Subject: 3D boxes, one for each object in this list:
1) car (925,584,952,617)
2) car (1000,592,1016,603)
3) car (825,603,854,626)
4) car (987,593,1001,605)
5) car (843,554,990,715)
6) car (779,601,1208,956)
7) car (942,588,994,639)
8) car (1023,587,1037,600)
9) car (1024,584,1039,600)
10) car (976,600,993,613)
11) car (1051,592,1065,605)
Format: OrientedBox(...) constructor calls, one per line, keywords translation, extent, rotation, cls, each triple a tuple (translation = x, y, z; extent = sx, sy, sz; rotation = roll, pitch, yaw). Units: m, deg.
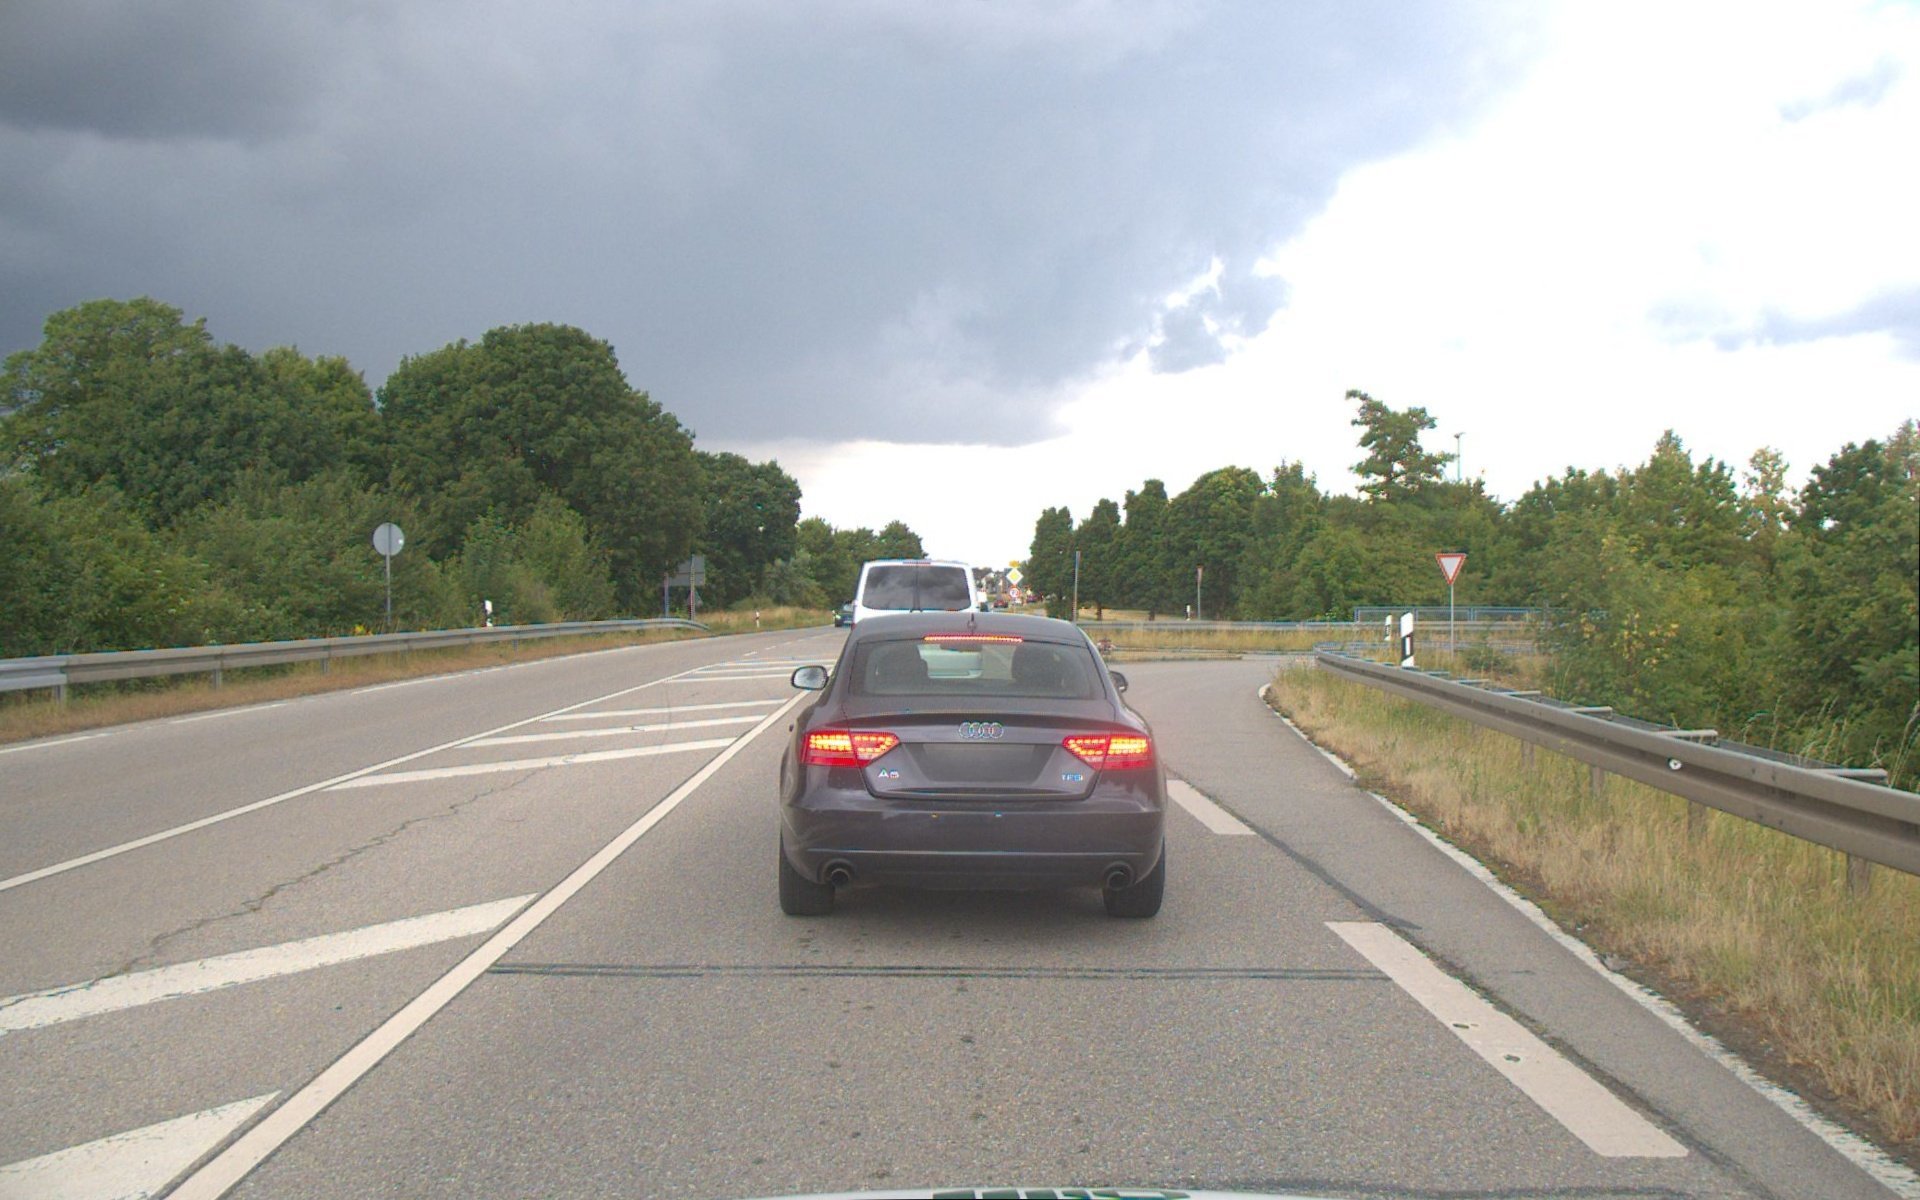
OrientedBox(translation=(-1.681, 0.036, 131.056), extent=(1.953, 2.450, 4.000), rotation=(2, 0, 0), cls="car")
OrientedBox(translation=(7.453, -0.395, 258.615), extent=(2.161, 1.610, 4.377), rotation=(1, 1, -2), cls="car")
OrientedBox(translation=(-8.176, 0.979, 112.469), extent=(1.761, 1.422, 3.483), rotation=(1, 1, -1), cls="car")
OrientedBox(translation=(4.799, -0.132, 236.509), extent=(1.952, 1.721, 4.001), rotation=(1, 1, 1), cls="car")
OrientedBox(translation=(-0.621, 0.421, 23.363), extent=(1.872, 2.049, 3.999), rotation=(1, 1, -2), cls="car")
OrientedBox(translation=(0.083, 0.732, 8.409), extent=(1.744, 1.423, 3.335), rotation=(0, 0, -2), cls="car")
OrientedBox(translation=(0.314, 0.571, 72.961), extent=(2.039, 2.100, 4.873), rotation=(1, 1, -3), cls="car")
OrientedBox(translation=(10.091, -0.966, 238.029), extent=(1.952, 1.721, 4.001), rotation=(1, 1, 1), cls="car")
OrientedBox(translation=(9.455, -1.054, 219.035), extent=(1.952, 2.049, 4.000), rotation=(1, 1, 1), cls="car")
OrientedBox(translation=(2.718, 0.721, 181.102), extent=(1.490, 1.423, 3.185), rotation=(0, -1, 7), cls="car")
OrientedBox(translation=(13.726, -0.186, 231.101), extent=(1.836, 1.721, 4.002), rotation=(1, 1, 4), cls="car")
